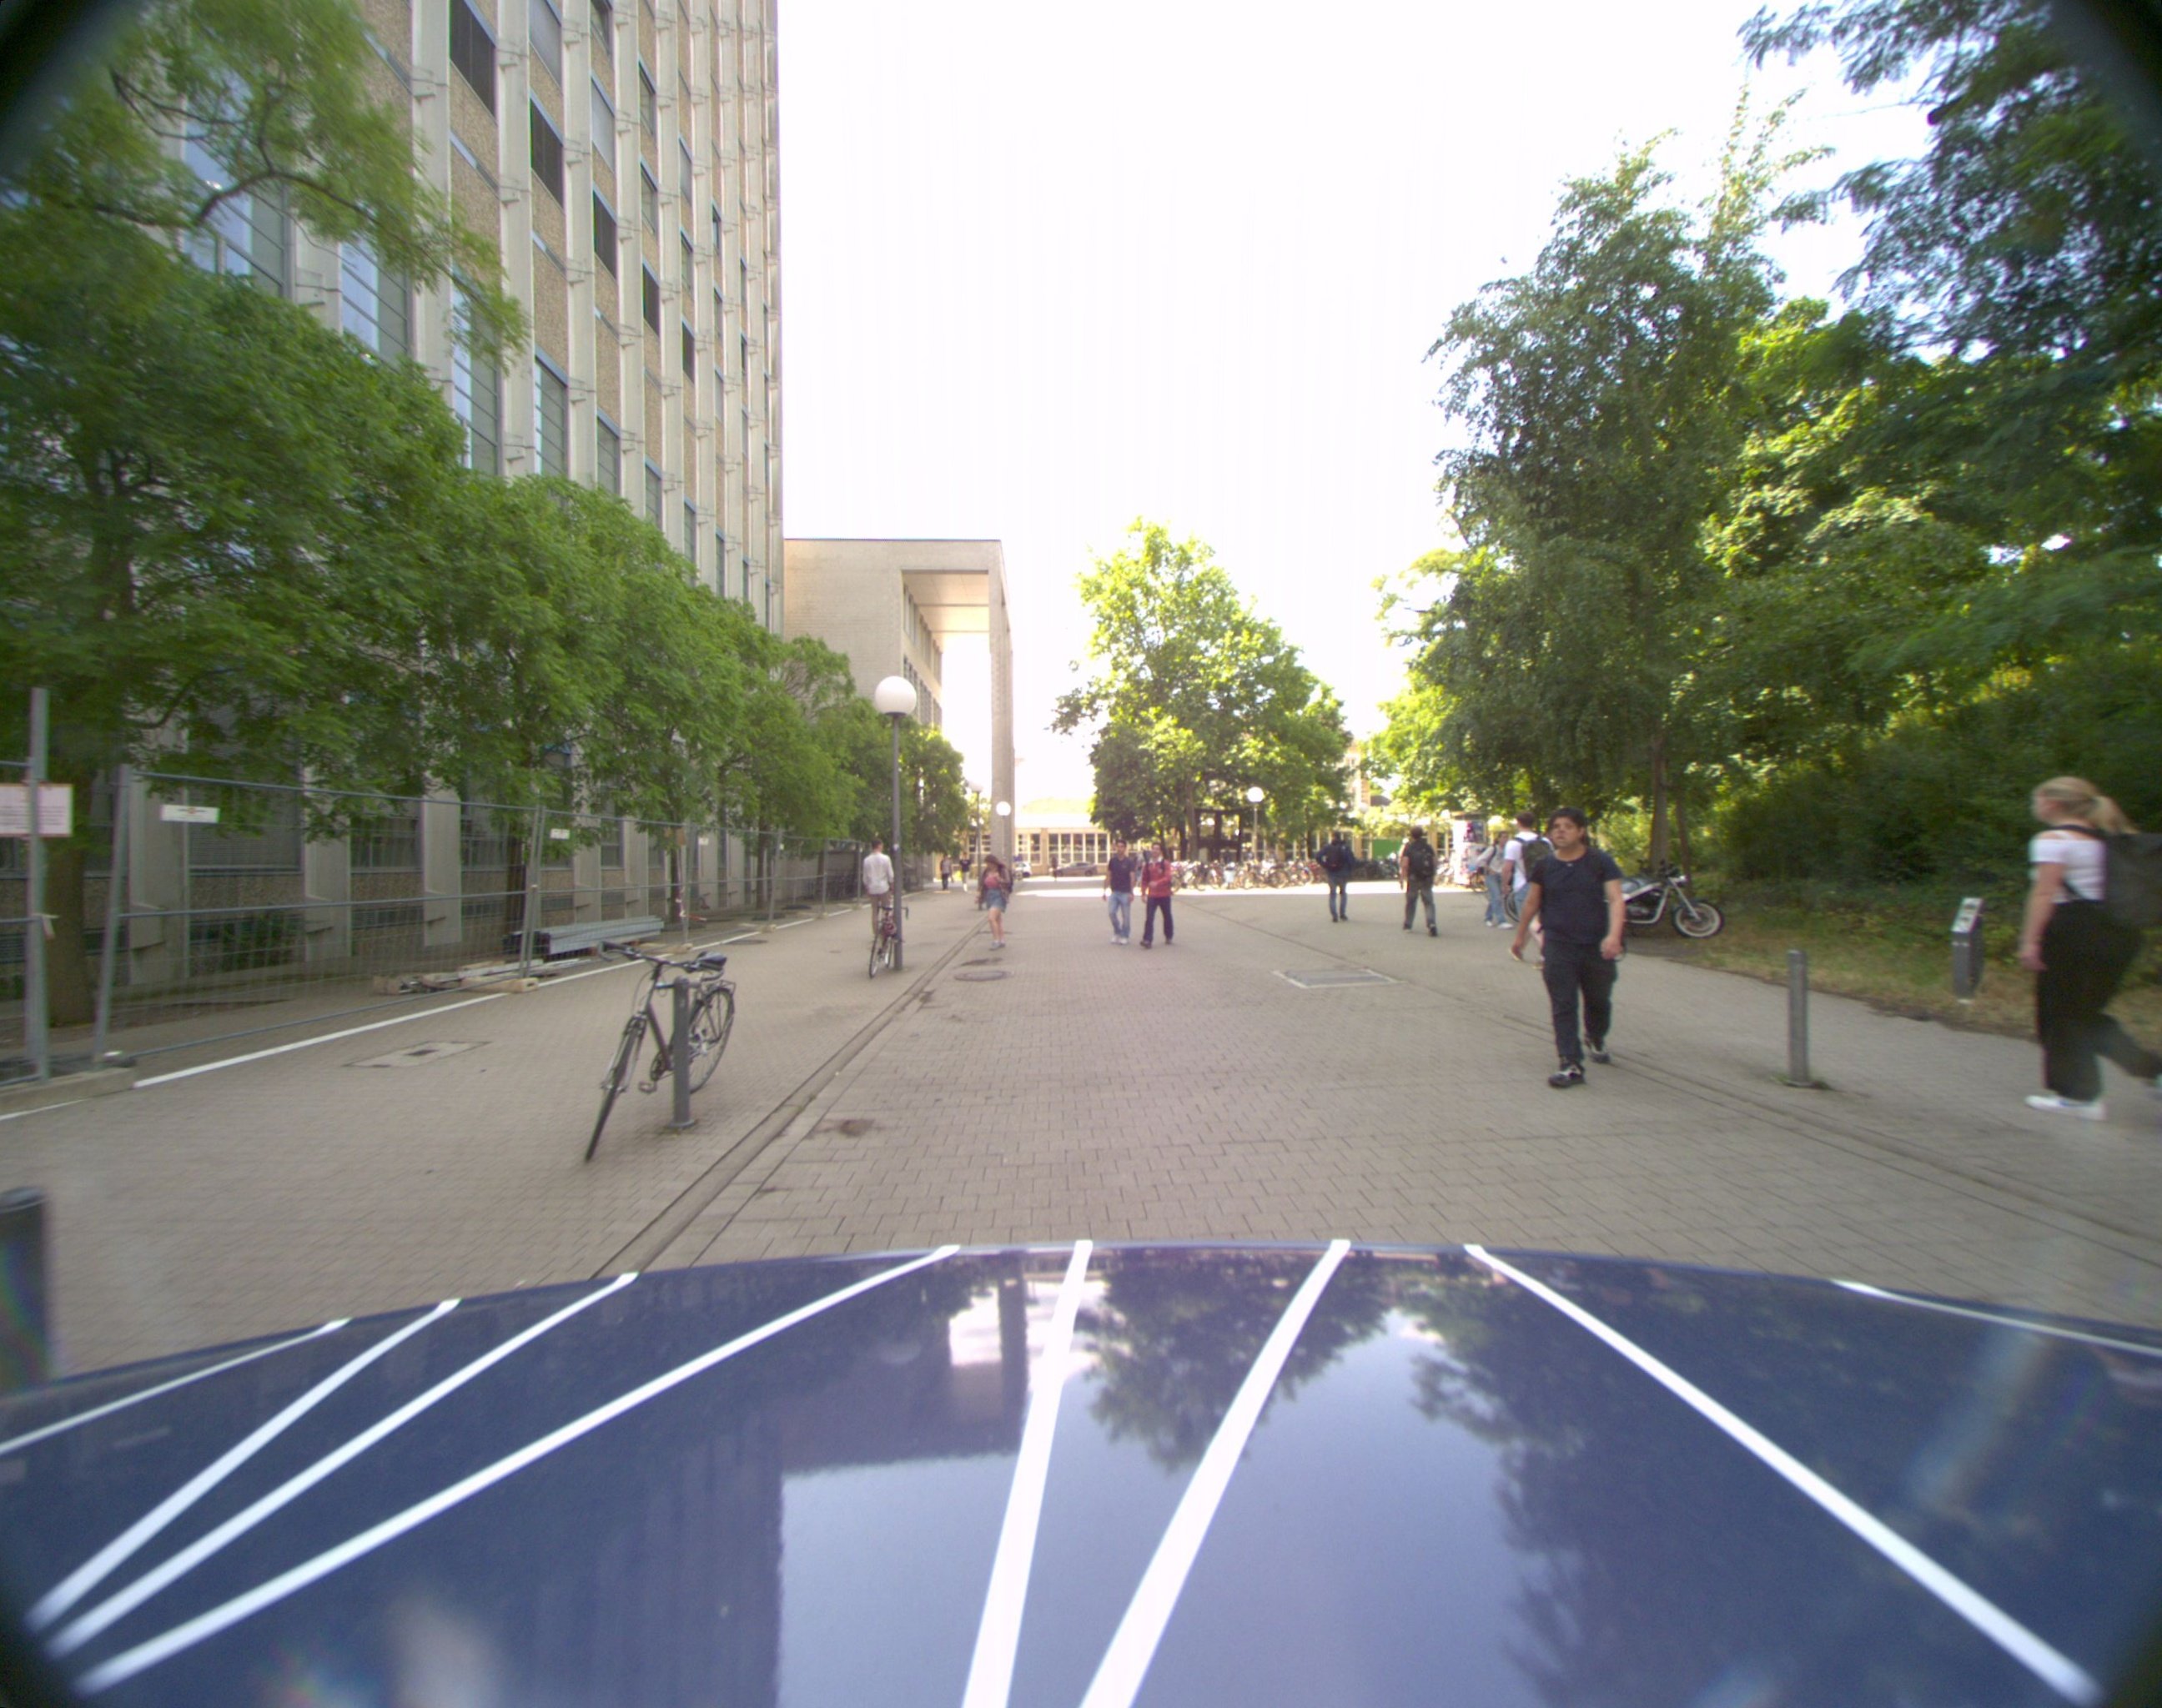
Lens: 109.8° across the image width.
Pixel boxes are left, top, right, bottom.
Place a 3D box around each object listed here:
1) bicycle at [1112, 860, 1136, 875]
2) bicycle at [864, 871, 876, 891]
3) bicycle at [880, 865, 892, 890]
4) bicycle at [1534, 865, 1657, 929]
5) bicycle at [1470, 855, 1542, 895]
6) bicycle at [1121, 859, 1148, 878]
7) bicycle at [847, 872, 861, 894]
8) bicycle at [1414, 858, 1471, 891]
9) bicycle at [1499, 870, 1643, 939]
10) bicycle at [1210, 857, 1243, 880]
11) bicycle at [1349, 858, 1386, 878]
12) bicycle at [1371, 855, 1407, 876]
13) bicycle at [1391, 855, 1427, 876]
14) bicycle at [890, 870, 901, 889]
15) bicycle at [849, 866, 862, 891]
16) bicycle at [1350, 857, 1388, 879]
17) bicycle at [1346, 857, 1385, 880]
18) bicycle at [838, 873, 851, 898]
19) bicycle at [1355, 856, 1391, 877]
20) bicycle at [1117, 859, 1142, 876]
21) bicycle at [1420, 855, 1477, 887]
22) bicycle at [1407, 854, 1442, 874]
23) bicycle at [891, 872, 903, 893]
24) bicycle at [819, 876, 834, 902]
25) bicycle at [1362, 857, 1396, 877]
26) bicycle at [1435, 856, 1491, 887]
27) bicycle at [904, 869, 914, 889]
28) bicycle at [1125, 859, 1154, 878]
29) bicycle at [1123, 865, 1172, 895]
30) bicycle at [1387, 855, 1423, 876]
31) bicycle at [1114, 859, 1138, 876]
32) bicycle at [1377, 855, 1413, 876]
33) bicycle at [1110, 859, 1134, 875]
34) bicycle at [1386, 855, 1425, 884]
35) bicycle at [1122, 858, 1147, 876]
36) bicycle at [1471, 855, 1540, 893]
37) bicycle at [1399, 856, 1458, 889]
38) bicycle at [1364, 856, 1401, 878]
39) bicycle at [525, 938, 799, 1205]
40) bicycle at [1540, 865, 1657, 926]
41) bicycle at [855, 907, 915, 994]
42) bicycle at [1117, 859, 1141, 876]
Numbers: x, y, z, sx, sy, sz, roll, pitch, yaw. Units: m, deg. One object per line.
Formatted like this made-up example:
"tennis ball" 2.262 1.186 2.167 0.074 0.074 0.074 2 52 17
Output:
"bicycle" 3.125 0.985 55.199 1.629 1.101 0.497 -1 -2 -3
"bicycle" -9.849 1.242 35.474 0.291 0.882 1.447 -1 0 -6
"bicycle" -9.111 1.103 35.562 0.291 1.121 1.447 -1 0 -6
"bicycle" 9.042 0.740 13.405 0.475 1.041 1.695 -4 1 -43
"bicycle" 12.184 0.613 21.838 1.773 1.104 0.475 -1 1 27
"bicycle" 3.418 0.919 48.296 1.629 1.101 0.496 -1 1 -7
"bicycle" -9.926 1.262 33.222 0.291 0.900 1.447 -1 0 -6
"bicycle" 12.795 0.725 26.923 1.773 1.104 0.475 -1 1 41
"bicycle" 8.055 0.799 12.562 0.543 1.041 1.903 -2 1 -43
"bicycle" 7.700 0.750 40.159 0.577 1.193 1.695 -2 1 -42
"bicycle" 14.548 0.714 38.641 0.453 0.956 1.735 -2 1 -41
"bicycle" 16.076 0.602 39.694 0.475 1.077 1.695 -2 1 -41
"bicycle" 17.813 0.630 41.290 0.475 1.077 1.695 -2 1 -41
"bicycle" -9.057 1.224 37.062 0.291 0.900 1.447 -1 0 -6
"bicycle" -10.495 1.132 35.445 0.291 1.092 1.447 -1 0 -6
"bicycle" 14.341 0.690 37.916 1.695 1.077 0.475 -1 1 40
"bicycle" 14.020 0.709 37.489 1.695 1.077 0.475 -1 1 40
"bicycle" -9.431 1.242 30.354 0.291 0.900 1.803 -1 0 -10
"bicycle" 14.986 0.630 39.051 0.475 1.077 1.695 -2 1 -41
"bicycle" 3.240 0.883 50.973 1.628 1.101 0.691 -1 1 3
"bicycle" 13.205 0.609 27.299 1.773 1.104 0.475 -1 1 36
"bicycle" 19.092 0.537 42.260 0.475 1.077 1.695 -2 1 -41
"bicycle" -8.123 1.245 33.522 0.291 0.900 1.447 -1 0 -6
"bicycle" -9.428 1.285 28.217 0.291 0.900 1.617 -1 0 -10
"bicycle" 16.236 0.714 41.470 0.475 1.077 1.695 -2 1 -41
"bicycle" 14.002 0.625 27.864 1.773 1.104 0.475 -1 1 36
"bicycle" -8.362 1.202 36.944 0.291 0.900 1.447 -1 0 -6
"bicycle" 3.660 0.893 47.345 1.724 1.101 0.719 -1 1 8
"bicycle" 2.469 0.958 28.274 1.695 1.077 0.605 -1 1 23
"bicycle" 17.430 0.629 40.884 0.475 1.077 1.695 -2 1 -41
"bicycle" 3.152 0.952 52.810 1.628 1.101 0.629 -1 1 2
"bicycle" 16.554 0.618 40.053 0.475 1.077 1.695 -2 1 -41
"bicycle" 2.906 0.941 53.934 1.628 1.101 0.497 -1 1 3
"bicycle" 13.359 0.620 31.289 1.848 1.104 0.473 -2 1 -31
"bicycle" 3.524 0.866 50.200 1.629 1.144 0.497 -1 1 -2
"bicycle" 12.708 0.610 22.780 1.773 1.104 0.475 -1 1 27
"bicycle" 11.955 0.637 26.191 1.773 1.104 0.475 -1 1 41
"bicycle" 15.531 0.671 39.161 0.475 1.077 1.695 -2 1 -41
"bicycle" -2.351 1.148 4.557 0.710 1.086 1.748 -1 0 -3
"bicycle" 9.431 0.733 13.905 0.475 1.041 1.695 -2 1 -43
"bicycle" -2.567 1.228 10.073 0.397 0.930 1.731 1 0 -3
"bicycle" 3.254 0.901 51.695 1.628 1.101 0.497 -1 1 3
